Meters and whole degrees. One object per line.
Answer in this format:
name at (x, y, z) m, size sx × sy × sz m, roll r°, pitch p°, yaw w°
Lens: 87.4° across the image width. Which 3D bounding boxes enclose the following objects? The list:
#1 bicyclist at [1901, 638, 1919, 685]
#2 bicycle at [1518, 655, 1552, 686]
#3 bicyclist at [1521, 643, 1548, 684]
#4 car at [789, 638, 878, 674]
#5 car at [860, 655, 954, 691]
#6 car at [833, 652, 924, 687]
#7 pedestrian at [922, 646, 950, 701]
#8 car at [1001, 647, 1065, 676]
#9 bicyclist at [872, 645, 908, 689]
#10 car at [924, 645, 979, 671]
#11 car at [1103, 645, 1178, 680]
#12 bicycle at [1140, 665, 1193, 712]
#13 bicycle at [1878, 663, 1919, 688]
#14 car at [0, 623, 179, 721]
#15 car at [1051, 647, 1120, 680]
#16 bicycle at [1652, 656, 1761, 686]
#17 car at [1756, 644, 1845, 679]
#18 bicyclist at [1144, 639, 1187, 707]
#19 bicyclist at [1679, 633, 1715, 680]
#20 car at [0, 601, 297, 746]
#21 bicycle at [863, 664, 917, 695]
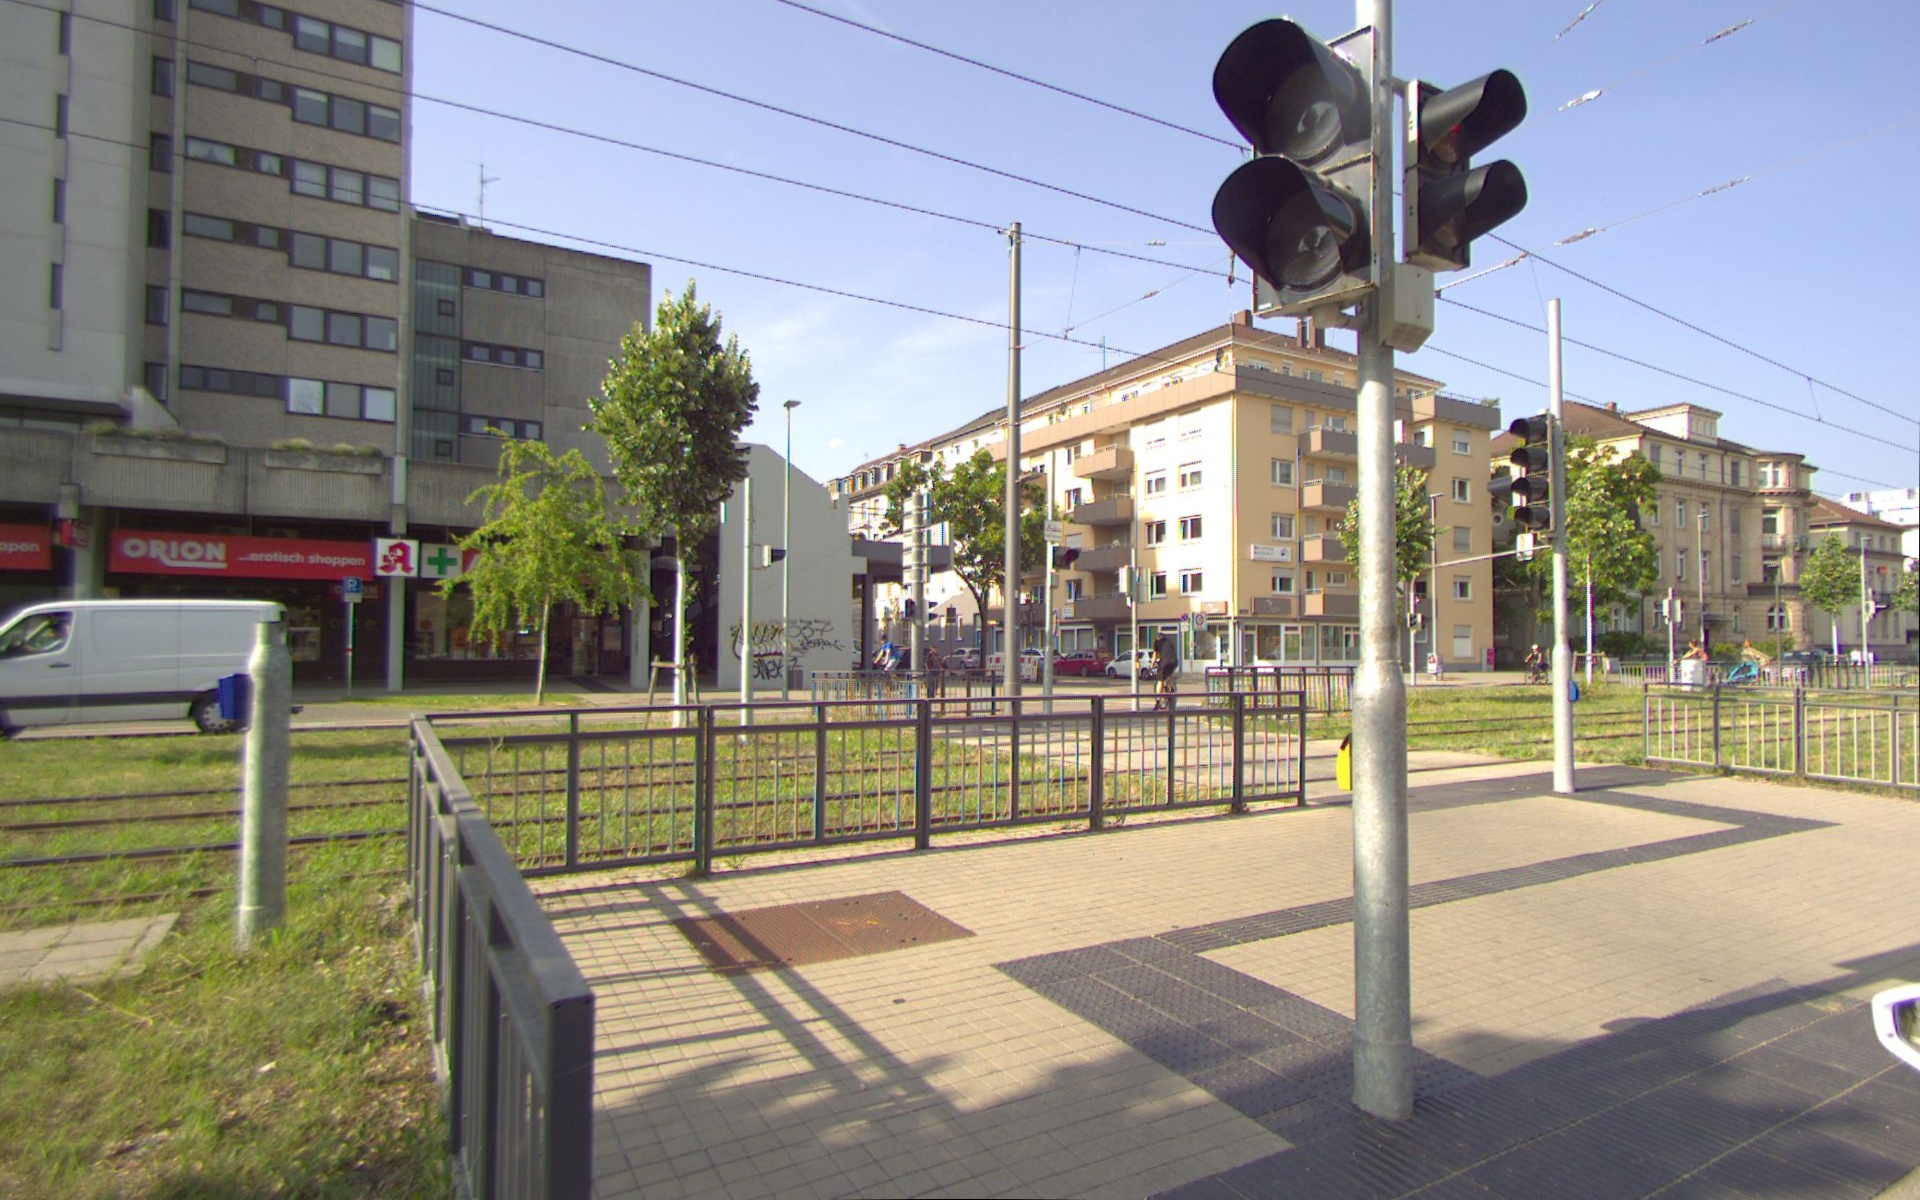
bicyclist at (31.237, 1.983, 32.560) m, size 0.616 × 1.519 × 0.974 m, roll 2°, pitch -3°, yaw -42°
bicycle at (26.277, 3.199, 45.893) m, size 1.740 × 1.363 × 0.690 m, roll 2°, pitch -3°, yaw -35°
bicyclist at (26.243, 2.886, 45.880) m, size 1.073 × 1.829 × 0.664 m, roll 2°, pitch -3°, yaw -36°
car at (-7.442, 3.316, 59.120) m, size 4.777 × 1.994 × 1.984 m, roll 3°, pitch -3°, yaw -30°
car at (-2.636, 3.621, 50.337) m, size 4.335 × 1.649 × 1.898 m, roll 2°, pitch -1°, yaw -33°
car at (-4.203, 3.602, 52.189) m, size 4.335 × 1.649 × 1.898 m, roll 2°, pitch -1°, yaw -33°
pedestrian at (-0.760, 2.298, 31.590) m, size 0.637 × 1.712 × 0.656 m, roll 1°, pitch -2°, yaw -27°
car at (4.263, 3.607, 59.173) m, size 1.796 × 1.625 × 3.917 m, roll 2°, pitch -3°, yaw -33°
bicyclist at (-2.311, 2.210, 33.305) m, size 1.011 × 1.459 × 0.681 m, roll 1°, pitch -2°, yaw -28°
car at (-0.587, 3.767, 65.692) m, size 1.797 × 1.625 × 3.916 m, roll 2°, pitch -3°, yaw -34°
car at (9.121, 3.148, 50.987) m, size 1.690 × 1.604 × 3.603 m, roll -1°, pitch -1°, yaw -33°
bicycle at (4.471, 1.926, 21.863) m, size 0.547 × 0.947 × 1.611 m, roll -1°, pitch -5°, yaw -9°
bicycle at (31.190, 2.460, 32.603) m, size 0.624 × 0.804 × 1.978 m, roll 2°, pitch -3°, yaw -42°
car at (-19.638, 1.545, 22.209) m, size 4.031 × 1.994 × 1.879 m, roll -1°, pitch -3°, yaw 21°
car at (6.818, 3.422, 54.937) m, size 1.755 × 1.710 × 3.766 m, roll 2°, pitch -3°, yaw -33°
bicycle at (26.149, 2.474, 35.262) m, size 2.944 × 0.978 × 0.899 m, roll -1°, pitch -3°, yaw 29°
car at (39.542, 2.867, 47.223) m, size 4.350 × 1.533 × 1.983 m, roll 2°, pitch -3°, yaw -32°
bicyclist at (4.460, 1.590, 21.850) m, size 0.536 × 1.413 × 0.973 m, roll -1°, pitch -4°, yaw -9°
bicyclist at (25.971, 1.987, 35.392) m, size 0.877 × 1.650 × 0.891 m, roll -1°, pitch -2°, yaw 29°
car at (-14.675, 1.221, 17.303) m, size 5.274 × 2.268 × 2.036 m, roll 2°, pitch -3°, yaw -31°
bicycle at (-2.317, 2.625, 33.279) m, size 1.646 × 1.003 × 0.681 m, roll 1°, pitch -3°, yaw -27°
